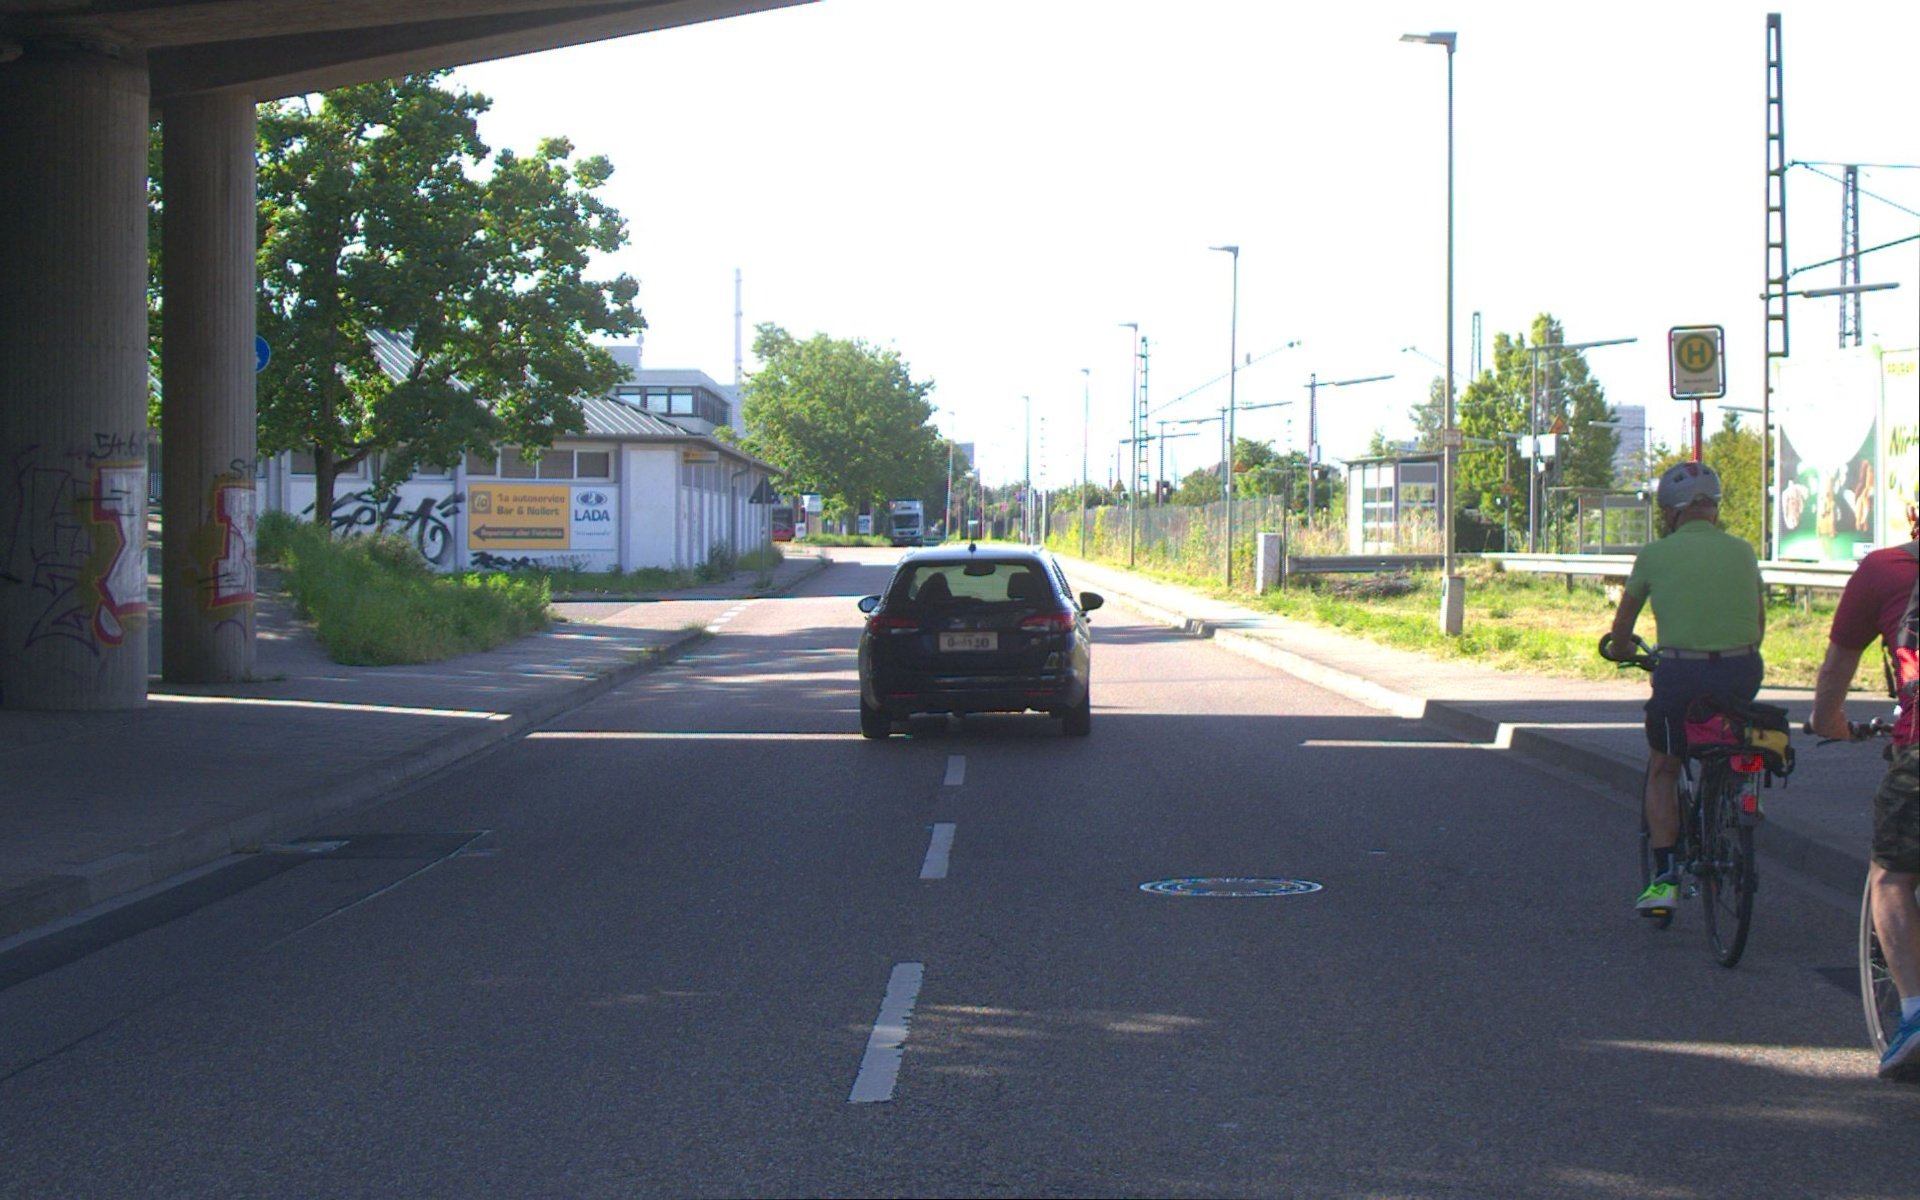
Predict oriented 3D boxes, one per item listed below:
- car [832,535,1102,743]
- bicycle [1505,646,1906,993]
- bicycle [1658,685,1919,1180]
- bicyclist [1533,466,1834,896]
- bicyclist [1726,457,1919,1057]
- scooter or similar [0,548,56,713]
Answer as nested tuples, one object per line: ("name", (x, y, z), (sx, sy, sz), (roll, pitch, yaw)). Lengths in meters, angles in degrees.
("car", (0.096, 0.247, 27.365), (1.942, 1.483, 4.565), (-1, 1, 1))
("bicycle", (2.597, 0.729, 12.266), (0.840, 1.048, 2.190), (0, 1, -3))
("bicycle", (2.536, 0.799, 9.096), (0.840, 1.048, 2.190), (0, 1, -3))
("bicyclist", (2.577, 0.270, 12.340), (0.840, 1.483, 0.924), (0, 1, -3))
("bicyclist", (2.541, 0.377, 8.974), (0.840, 1.483, 0.924), (0, 1, -3))
("scooter or similar", (-7.882, 0.229, 27.536), (1.308, 1.296, 0.577), (1, 1, 40))
